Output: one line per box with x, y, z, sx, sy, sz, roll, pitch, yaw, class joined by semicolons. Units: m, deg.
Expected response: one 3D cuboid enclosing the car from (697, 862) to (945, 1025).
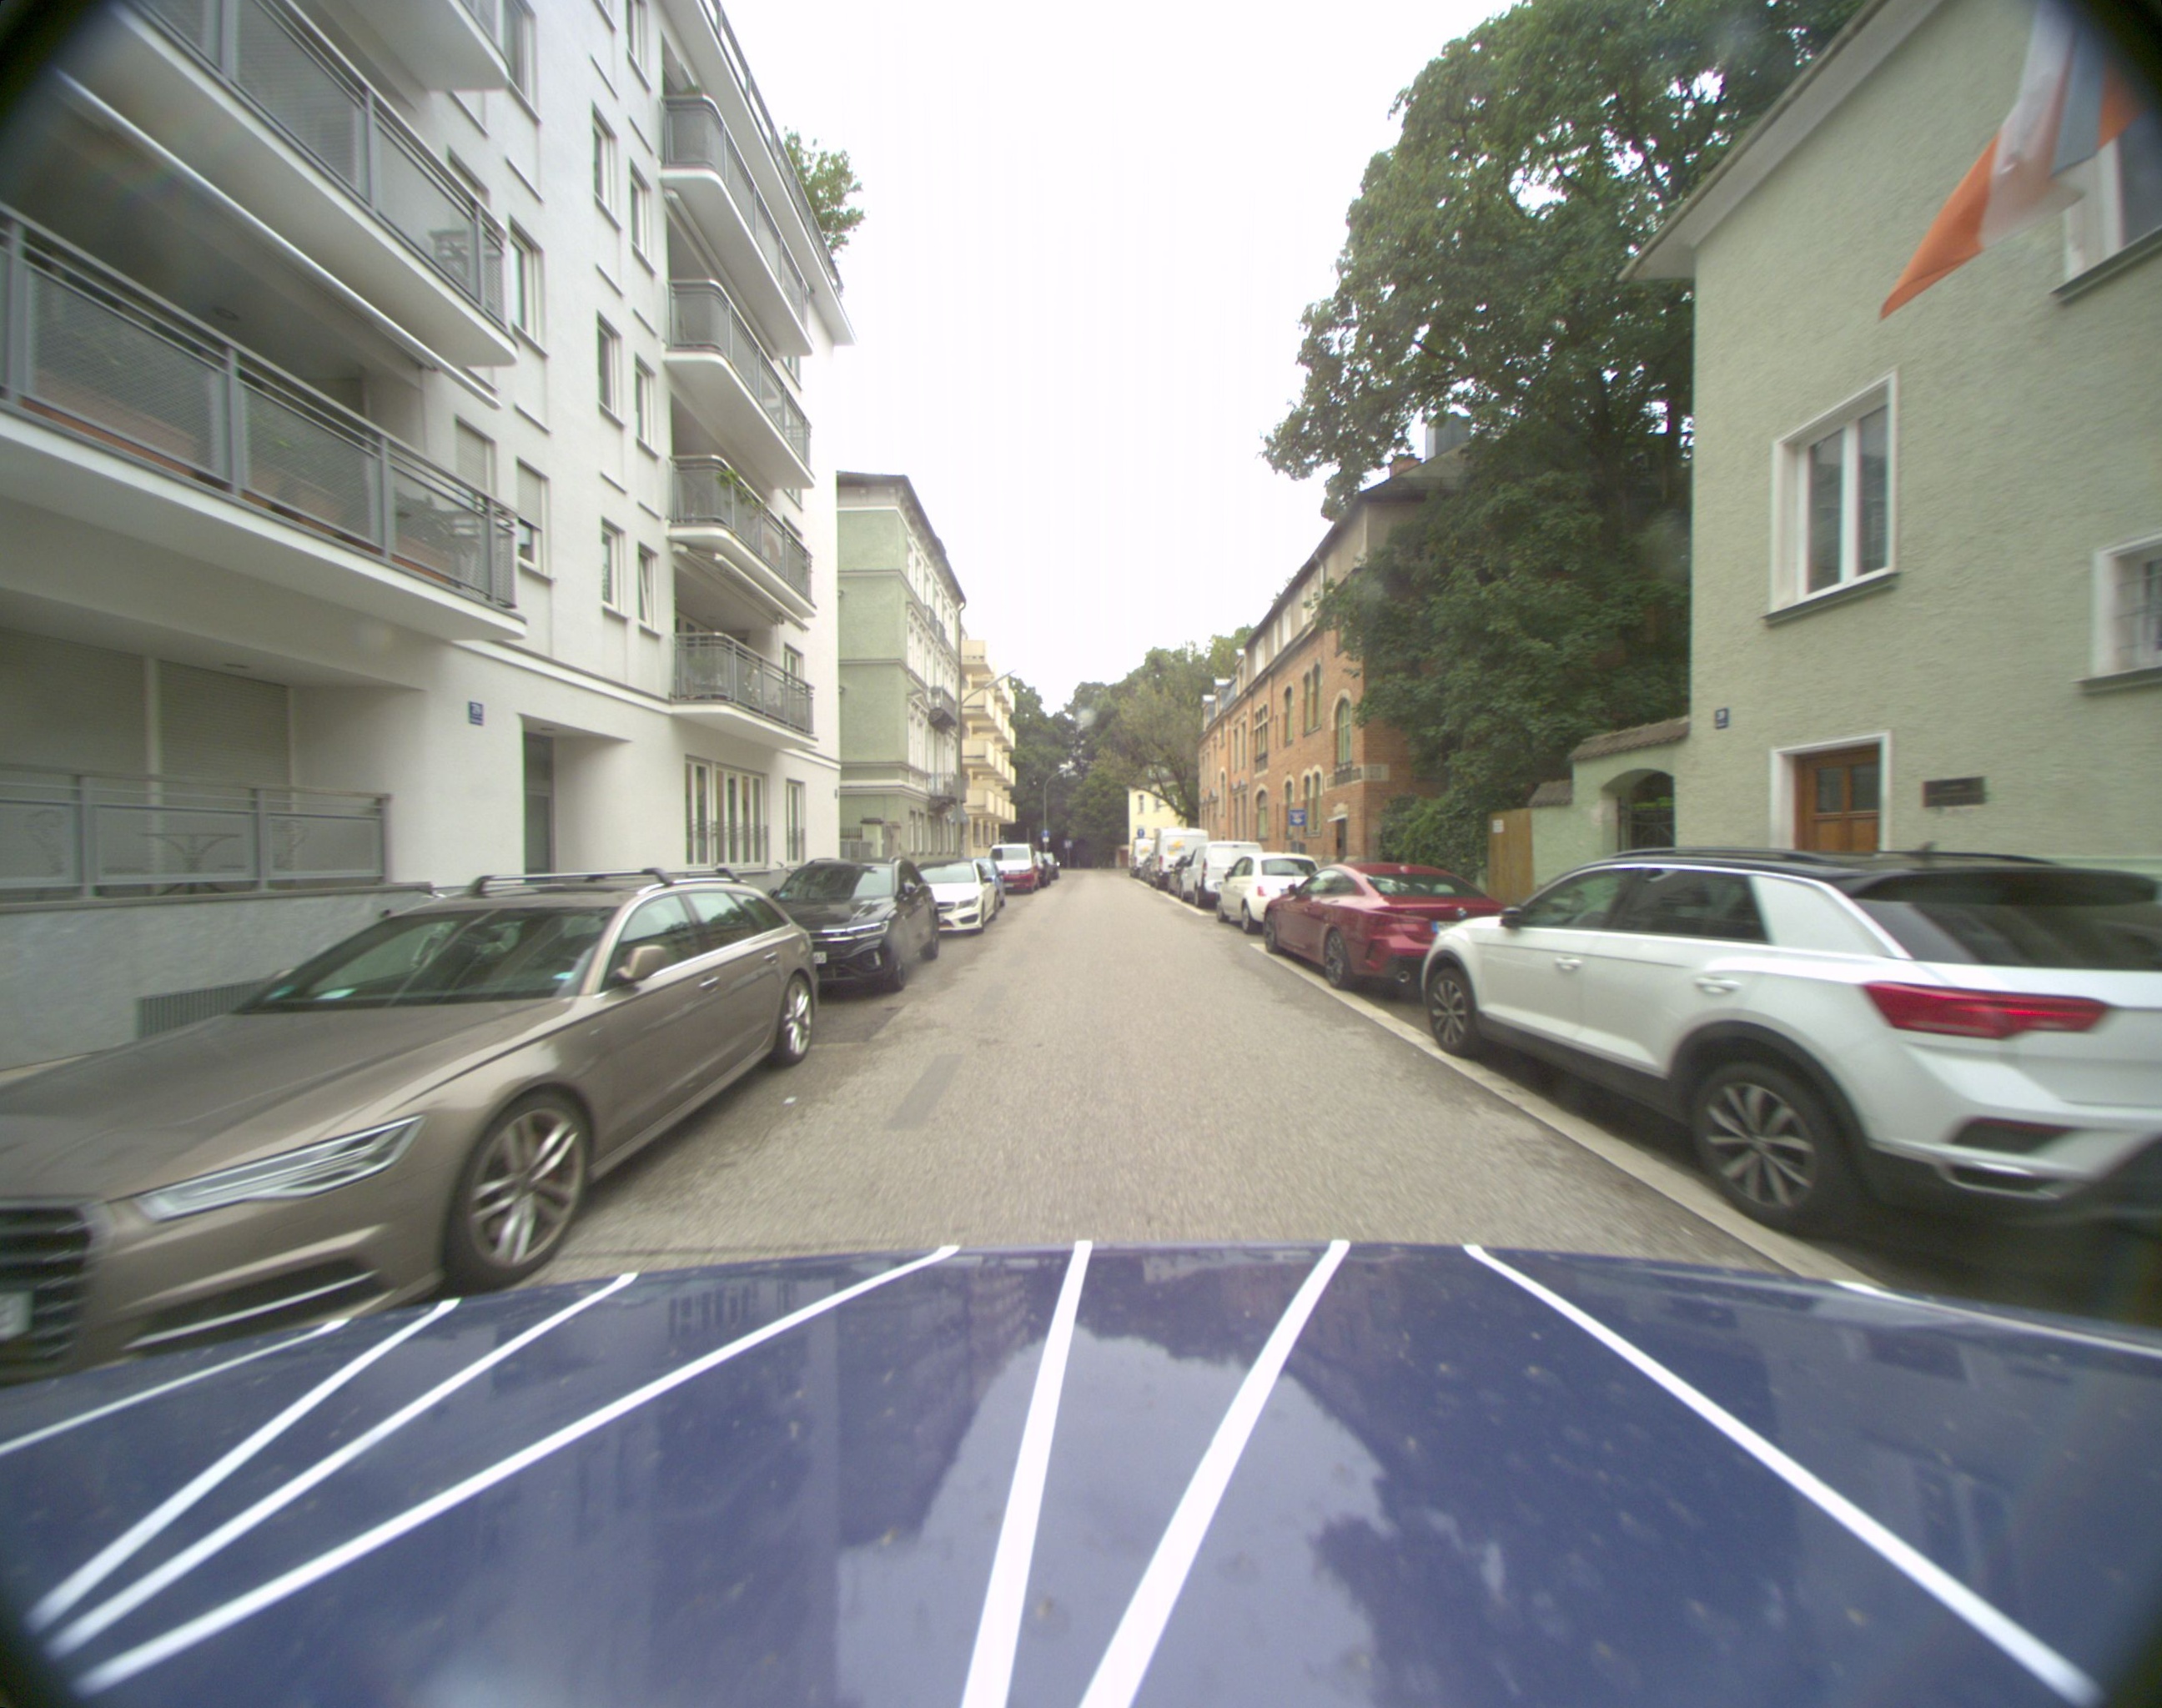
-2.989;0.922;9.719;1.842;1.524;4.020;-2;0;-2;car

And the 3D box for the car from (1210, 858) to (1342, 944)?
3.703;0.827;15.023;1.631;1.459;3.520;1;0;-1;car

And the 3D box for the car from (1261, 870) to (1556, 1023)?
3.636;0.929;9.432;1.750;1.360;4.402;0;0;0;car

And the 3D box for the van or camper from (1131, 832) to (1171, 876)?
4.373;0.004;48.170;2.116;2.646;4.957;0;0;0;van or camper

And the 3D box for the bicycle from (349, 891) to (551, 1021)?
-6.518;0.995;7.992;0.570;1.091;1.810;3;0;1;bicycle

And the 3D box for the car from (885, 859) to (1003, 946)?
-2.693;0.884;15.881;1.668;1.458;4.375;-2;0;-1;car

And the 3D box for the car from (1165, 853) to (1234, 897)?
3.997;0.668;26.250;1.719;1.412;4.166;0;0;0;car

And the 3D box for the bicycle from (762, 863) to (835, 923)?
-6.136;0.815;16.610;0.803;1.165;1.973;-1;0;1;bicycle

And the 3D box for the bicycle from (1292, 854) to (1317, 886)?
8.133;0.563;27.650;0.435;1.078;1.471;-2;1;0;bicycle

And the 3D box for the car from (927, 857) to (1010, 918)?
-2.952;0.835;20.654;1.719;1.415;3.719;-2;0;-1;car

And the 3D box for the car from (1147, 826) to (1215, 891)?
4.059;0.167;31.735;2.117;2.461;5.231;0;0;0;car

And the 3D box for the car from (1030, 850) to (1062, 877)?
-2.166;0.574;47.832;1.771;1.607;4.263;-1;0;0;car

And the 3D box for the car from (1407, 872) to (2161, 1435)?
3.543;0.913;4.234;1.683;1.521;4.107;0;0;0;car

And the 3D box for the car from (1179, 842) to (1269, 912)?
3.882;0.575;21.282;1.719;1.746;4.250;0;0;0;car

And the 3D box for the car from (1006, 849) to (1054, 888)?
-2.349;0.643;36.452;1.860;1.701;4.697;-2;0;1;car

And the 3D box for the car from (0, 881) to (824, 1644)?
-3.006;1.011;3.951;1.796;1.473;4.602;-2;1;-1;car

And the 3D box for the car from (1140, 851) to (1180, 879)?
4.343;0.569;42.168;1.769;1.491;4.080;0;0;0;car

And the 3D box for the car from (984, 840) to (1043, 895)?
-2.648;0.514;30.773;1.858;2.019;4.783;-2;0;1;car

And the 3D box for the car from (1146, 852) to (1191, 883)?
4.227;0.635;37.105;1.769;1.407;3.792;0;0;0;car
